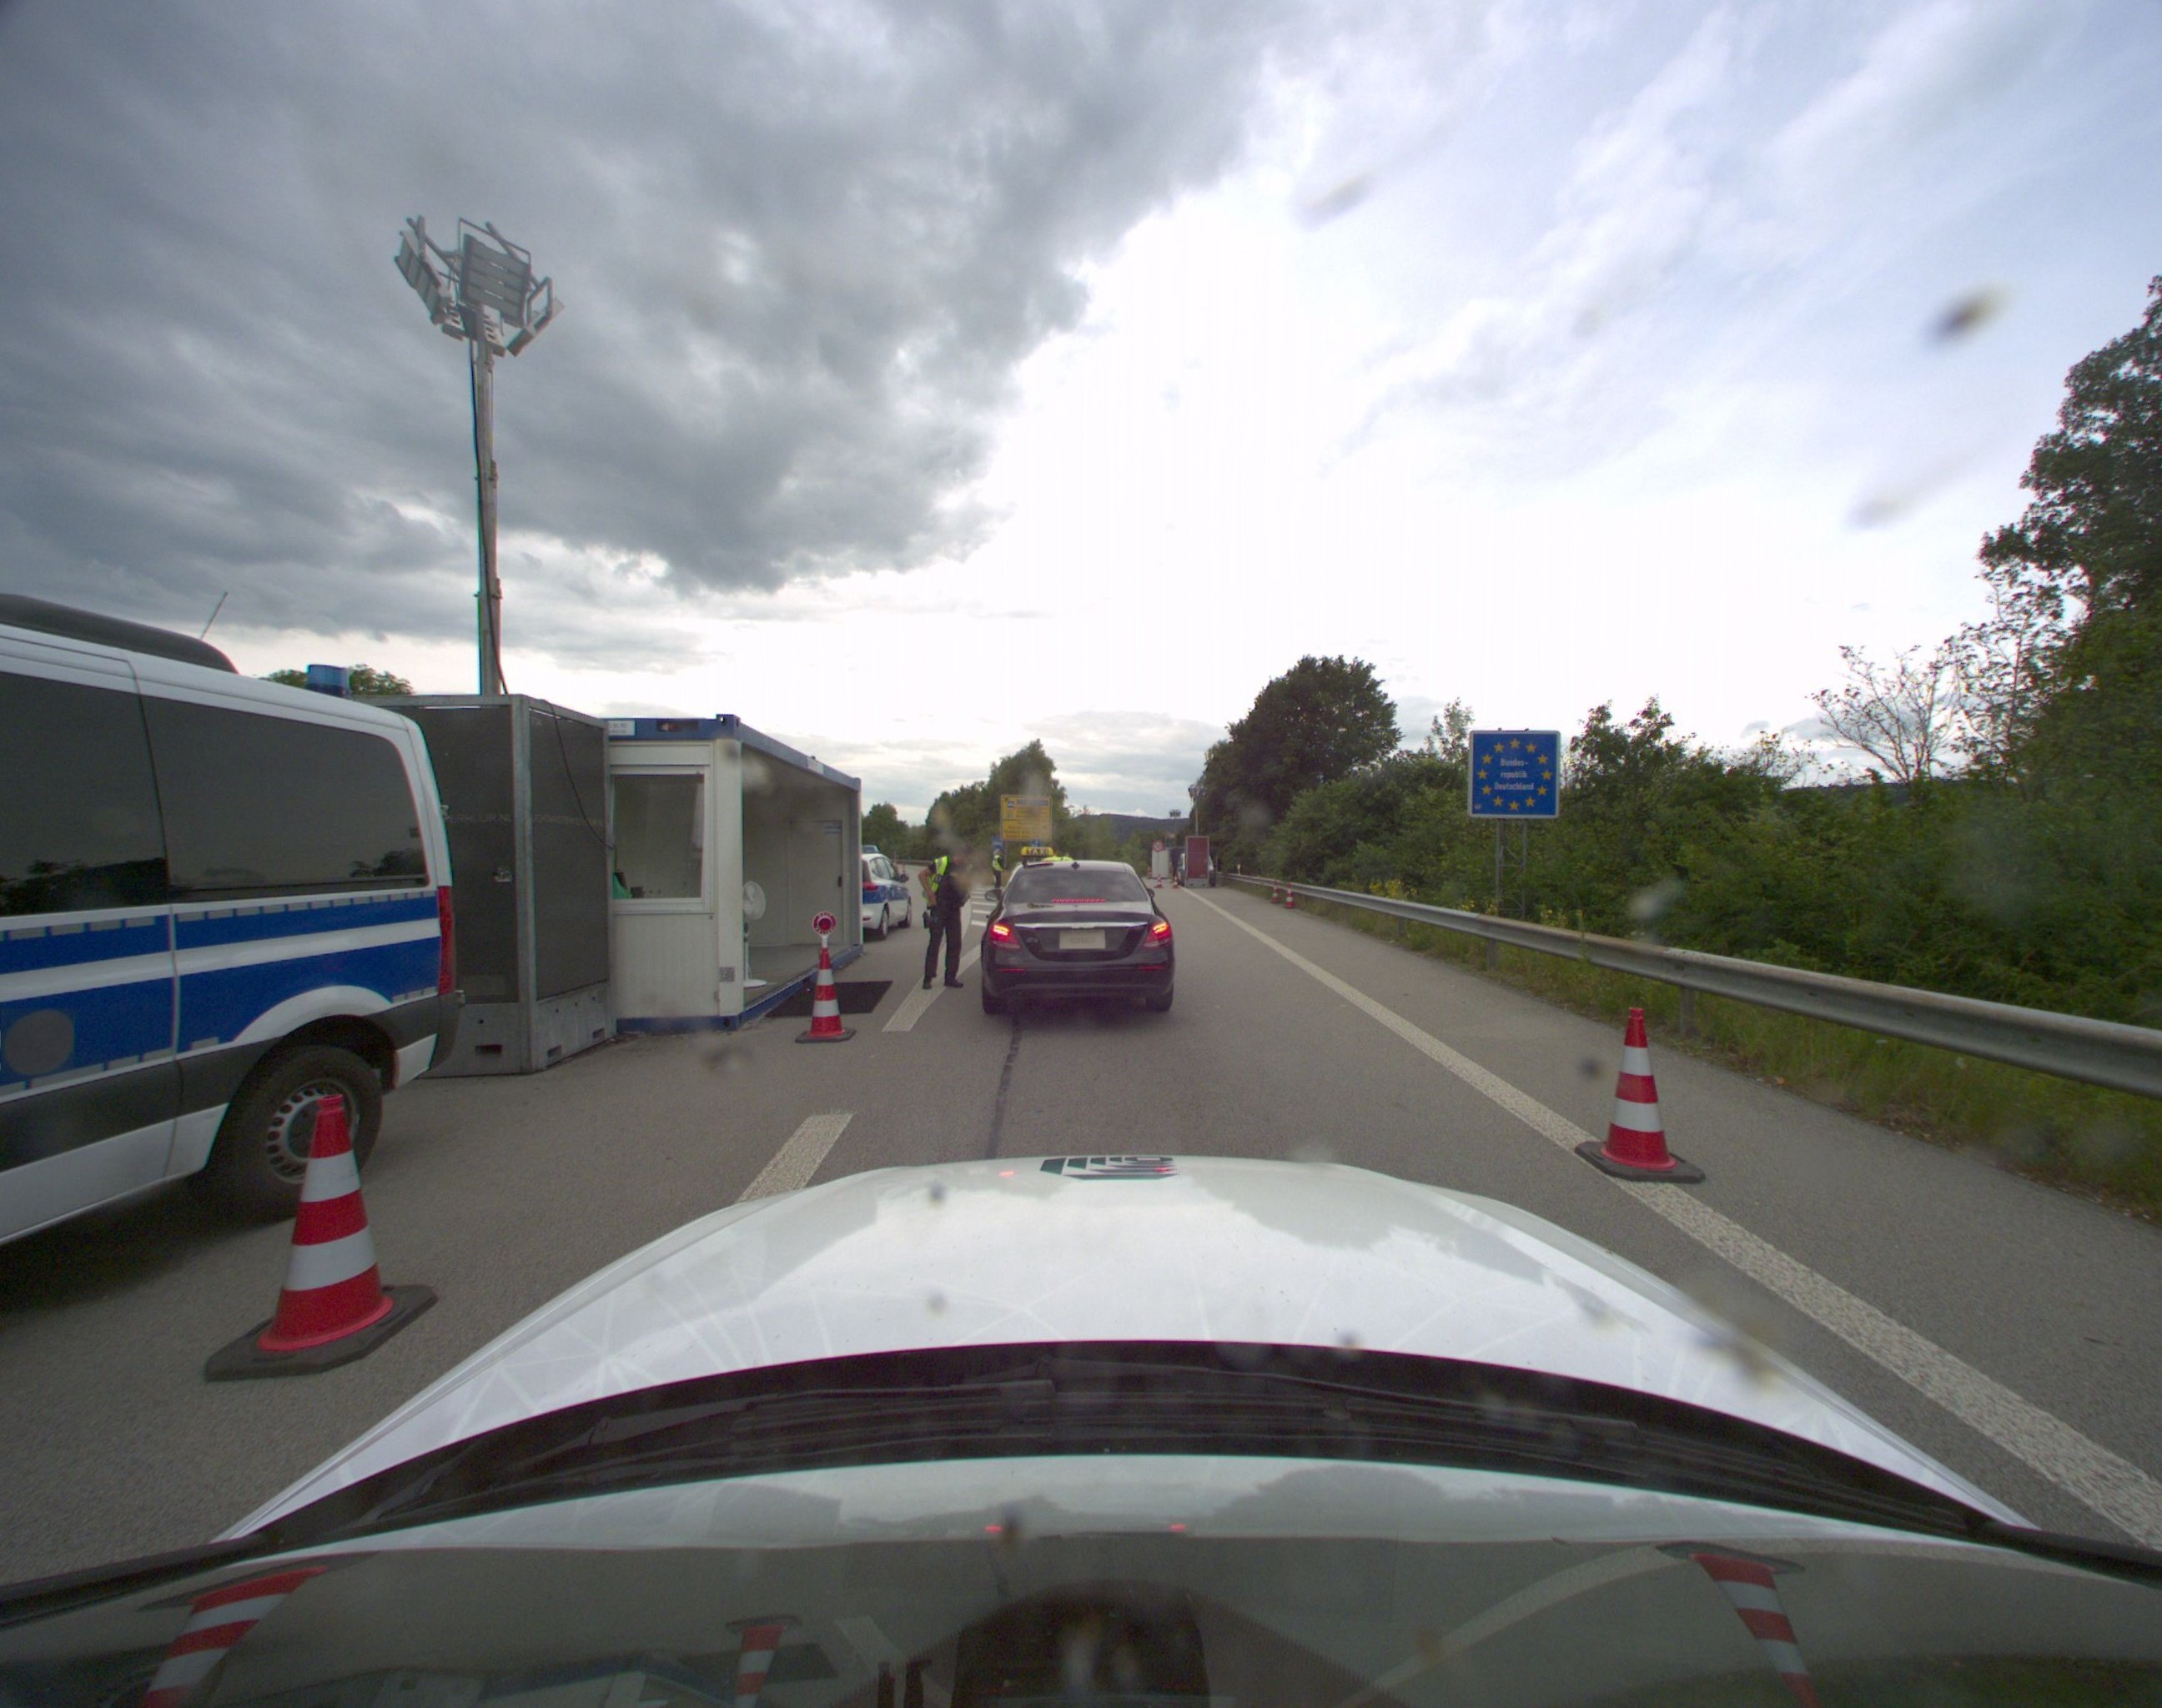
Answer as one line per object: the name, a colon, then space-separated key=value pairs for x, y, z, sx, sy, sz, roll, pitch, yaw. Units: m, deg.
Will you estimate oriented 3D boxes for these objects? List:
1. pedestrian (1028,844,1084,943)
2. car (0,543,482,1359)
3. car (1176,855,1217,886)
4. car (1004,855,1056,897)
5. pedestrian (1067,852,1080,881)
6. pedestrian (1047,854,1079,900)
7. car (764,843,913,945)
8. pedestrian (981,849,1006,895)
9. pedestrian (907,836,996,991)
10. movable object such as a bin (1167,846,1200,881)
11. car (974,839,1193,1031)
pedestrian: x=-0.470 y=0.739 z=15.655 sx=0.806 sy=1.830 sz=0.813 roll=-1 pitch=-1 yaw=18
car: x=-4.258 y=0.296 z=1.826 sx=2.024 sy=2.463 sz=5.275 roll=-1 pitch=0 yaw=-2
car: x=6.568 y=0.898 z=46.840 sx=1.908 sy=1.678 sz=5.087 roll=1 pitch=0 yaw=3
car: x=-1.933 y=0.813 z=31.988 sx=1.850 sy=1.498 sz=4.254 roll=-1 pitch=0 yaw=-1
pedestrian: x=-0.501 y=0.857 z=55.330 sx=0.659 sy=1.961 sz=0.763 roll=-1 pitch=-1 yaw=17
pedestrian: x=-0.703 y=0.872 z=31.216 sx=0.914 sy=1.698 sz=0.905 roll=0 pitch=-1 yaw=-30
car: x=-4.619 y=0.695 z=16.131 sx=1.864 sy=1.743 sz=4.004 roll=-1 pitch=0 yaw=-2
pedestrian: x=-3.390 y=0.696 z=31.610 sx=0.908 sy=1.769 sz=0.911 roll=0 pitch=0 yaw=-2
pedestrian: x=-1.530 y=0.656 z=9.573 sx=0.765 sy=1.718 sz=0.809 roll=-1 pitch=-1 yaw=-33
movable object such as a bin: x=6.972 y=0.626 z=55.682 sx=1.985 sy=2.280 sz=4.172 roll=0 pitch=0 yaw=4
car: x=-0.083 y=0.684 z=9.097 sx=1.851 sy=1.595 sz=4.370 roll=-1 pitch=0 yaw=-3
